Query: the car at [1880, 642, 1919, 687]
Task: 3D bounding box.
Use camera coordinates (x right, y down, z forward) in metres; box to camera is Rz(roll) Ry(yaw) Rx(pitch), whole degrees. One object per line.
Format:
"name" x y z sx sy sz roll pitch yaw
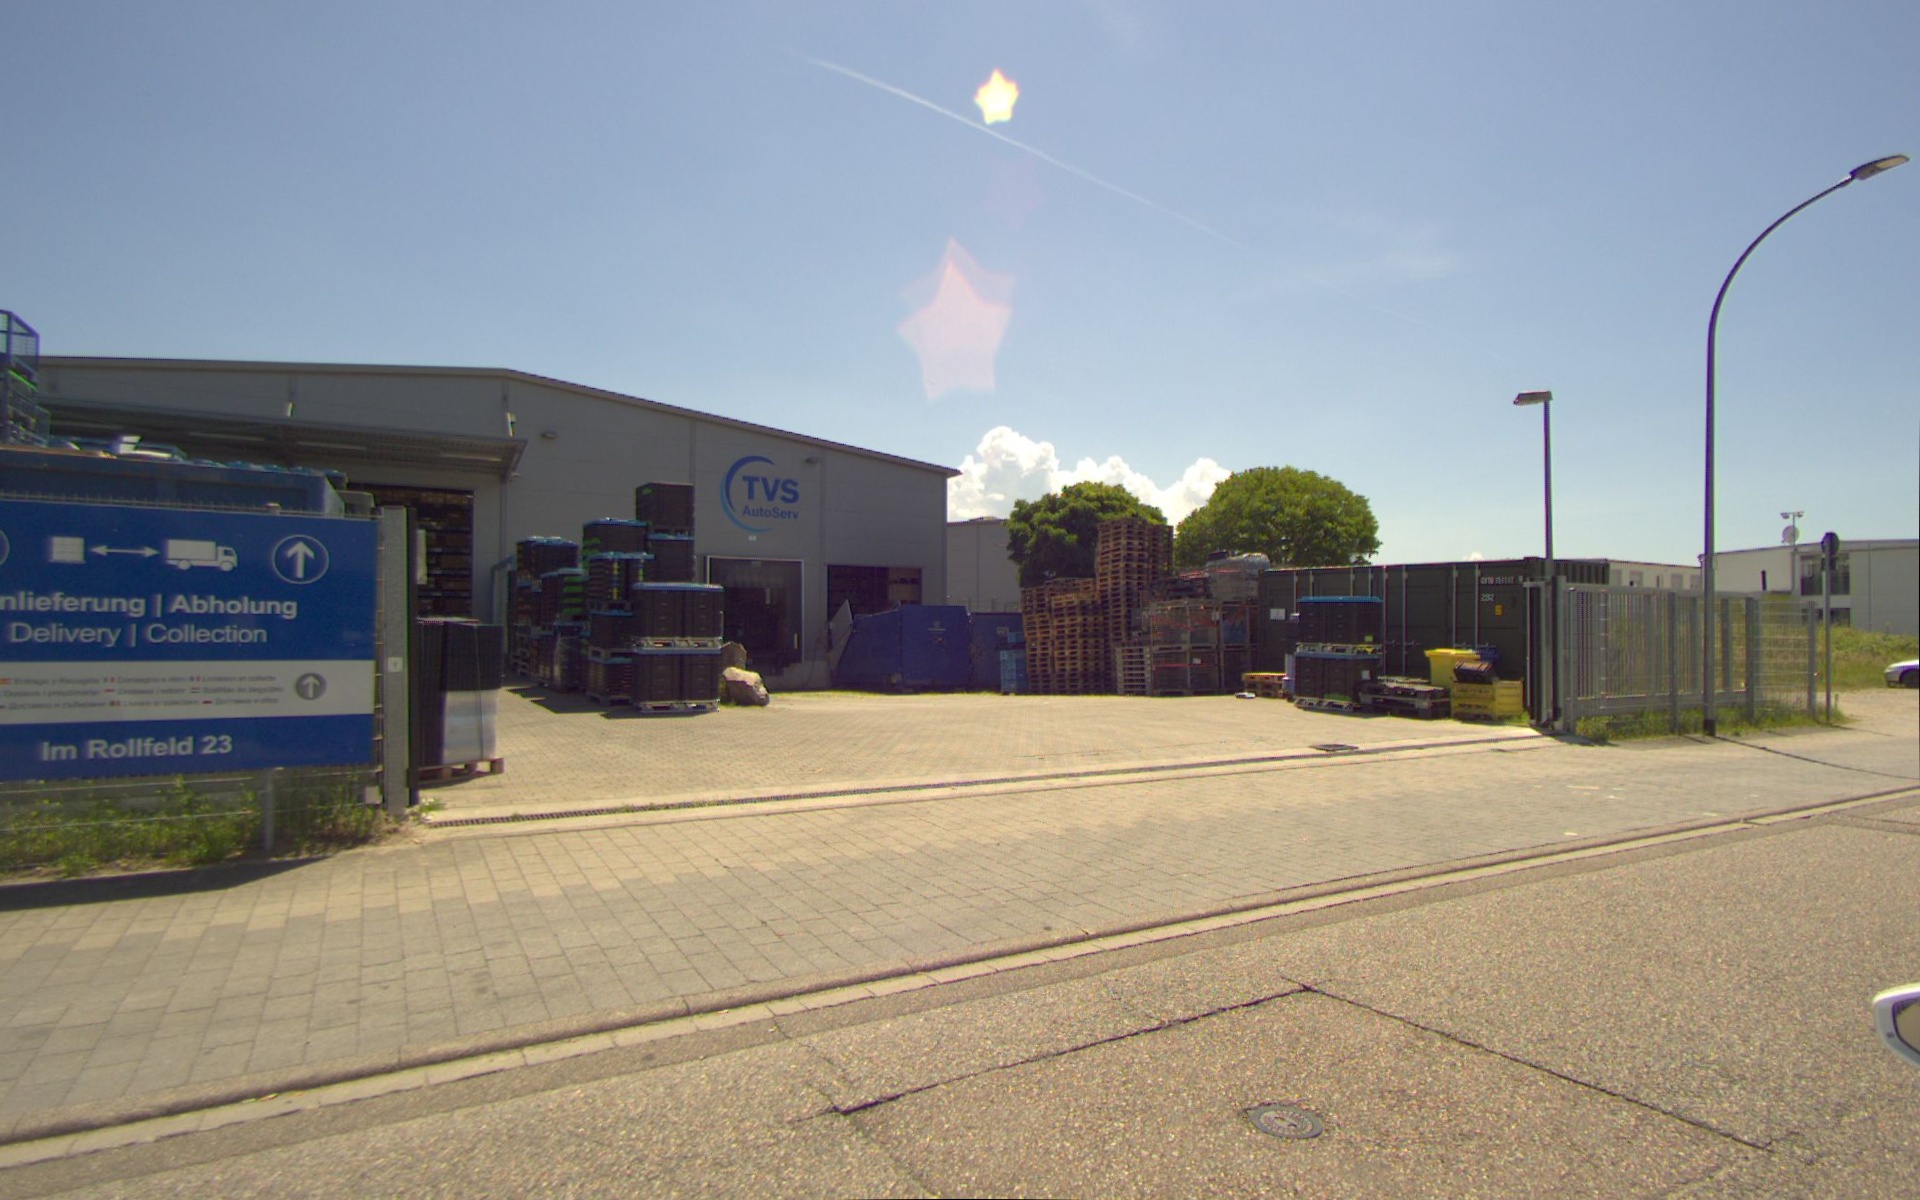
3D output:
"car" 30.492 1.936 29.885 1.875 1.382 4.259 1 -3 -29
